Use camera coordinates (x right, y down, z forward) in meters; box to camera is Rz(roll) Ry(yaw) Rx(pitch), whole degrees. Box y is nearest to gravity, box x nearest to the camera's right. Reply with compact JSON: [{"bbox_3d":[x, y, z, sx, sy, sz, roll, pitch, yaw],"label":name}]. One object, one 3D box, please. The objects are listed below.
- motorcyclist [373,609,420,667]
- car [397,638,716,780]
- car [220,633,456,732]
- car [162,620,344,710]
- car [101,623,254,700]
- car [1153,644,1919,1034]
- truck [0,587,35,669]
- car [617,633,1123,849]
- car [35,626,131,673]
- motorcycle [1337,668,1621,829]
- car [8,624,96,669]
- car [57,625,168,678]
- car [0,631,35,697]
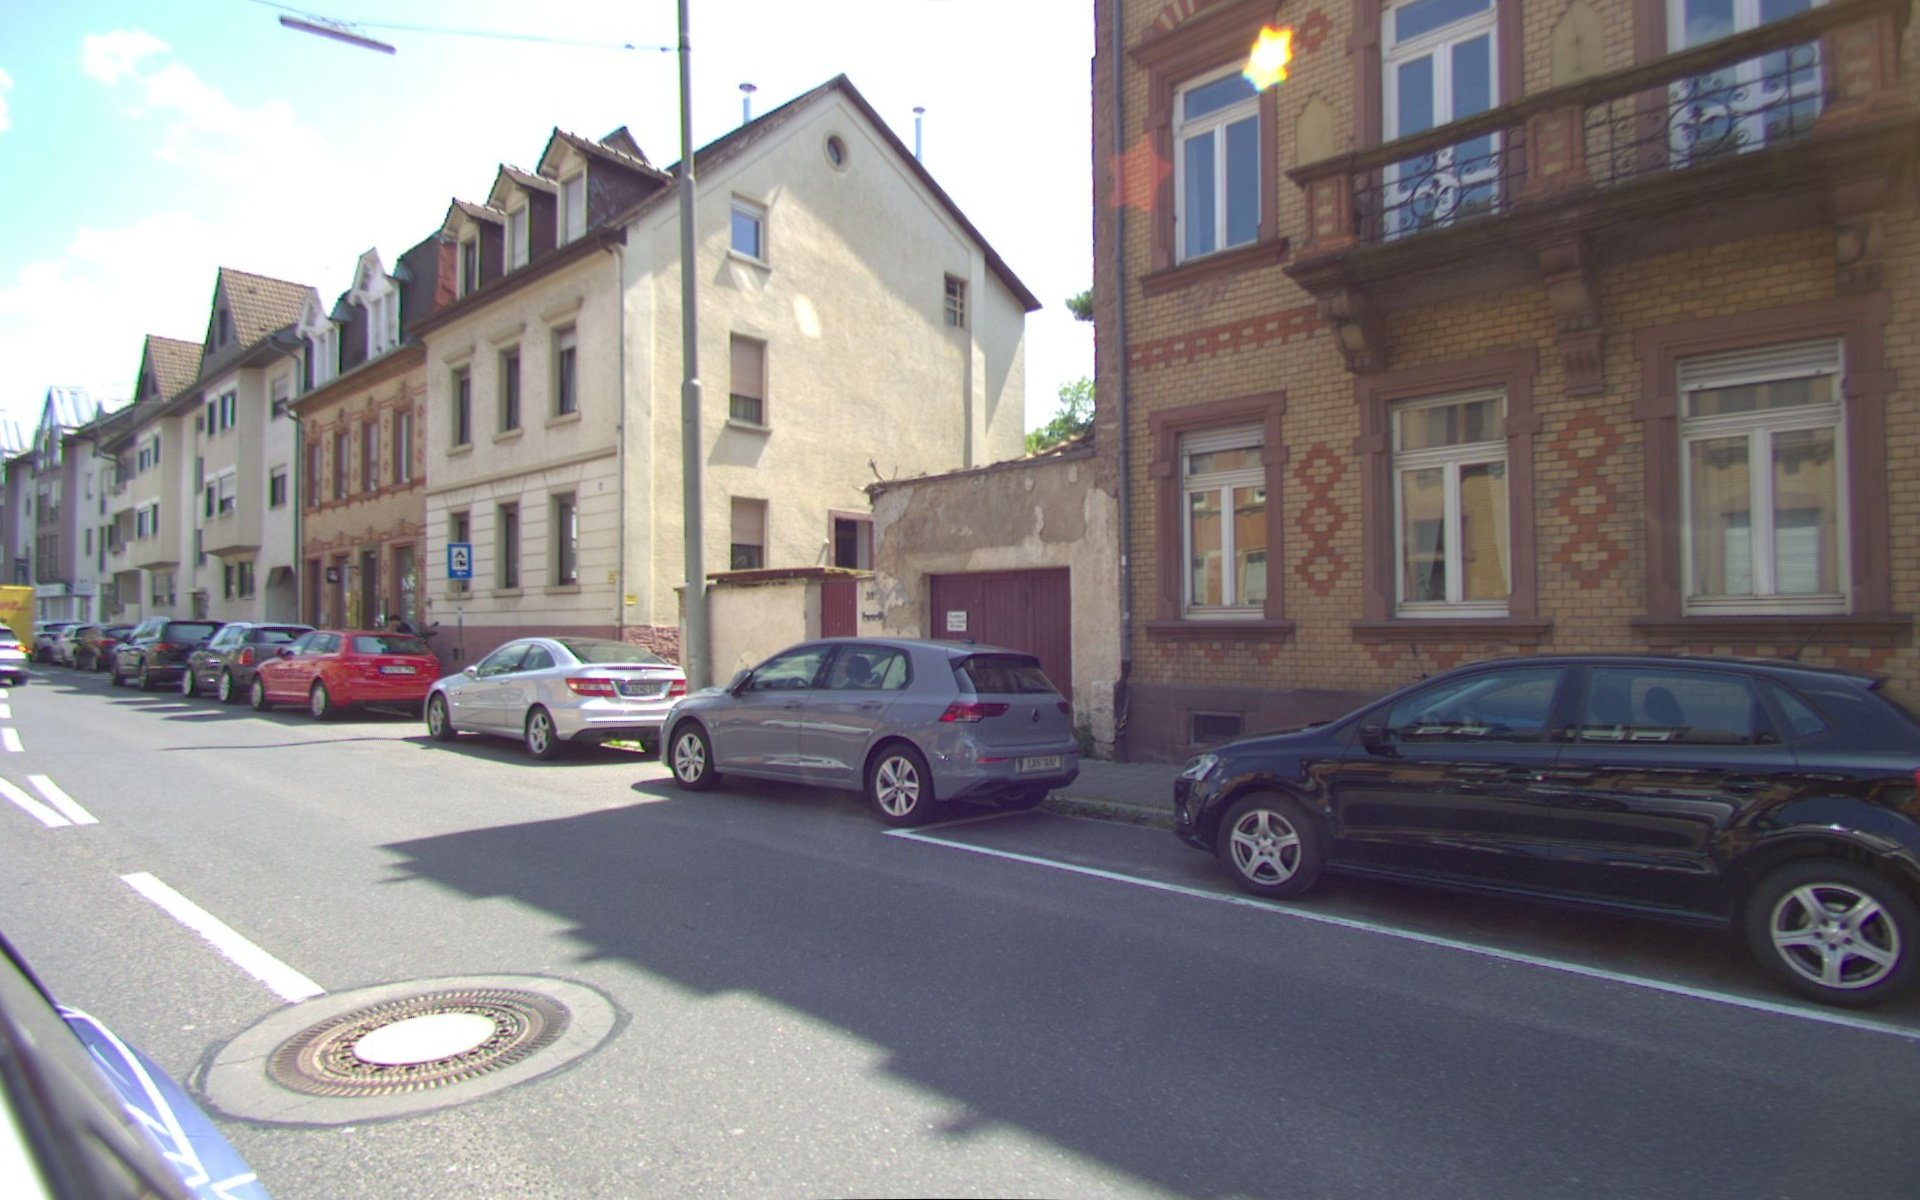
[{"bbox_3d":[-12.683,0.850,22.778,0.711,1.257,0.711,-1,-2,39],"label":"motorcyclist"},{"bbox_3d":[-5.249,1.256,12.890,4.498,1.433,1.821,-1,-4,40],"label":"car"},{"bbox_3d":[-10.561,1.331,17.074,4.494,1.433,1.823,-1,-5,37],"label":"car"},{"bbox_3d":[-14.408,1.275,20.525,4.498,1.609,1.821,-1,-5,40],"label":"car"},{"bbox_3d":[-18.259,1.388,23.537,4.498,1.609,1.821,-1,-4,40],"label":"car"},{"bbox_3d":[3.461,1.029,5.321,4.501,1.433,1.820,-1,-5,42],"label":"car"},{"bbox_3d":[-35.698,1.007,36.562,7.556,2.792,2.203,-1,-3,40],"label":"truck"},{"bbox_3d":[-0.974,1.106,9.155,4.497,1.433,1.822,-1,-6,39],"label":"car"},{"bbox_3d":[-31.306,1.715,36.089,4.381,1.499,1.822,-1,1,39],"label":"car"},{"bbox_3d":[4.163,1.136,8.230,1.937,1.061,0.705,-1,-1,44],"label":"motorcycle"},{"bbox_3d":[-35.866,1.788,39.944,4.380,1.607,1.822,-1,1,38],"label":"car"},{"bbox_3d":[-27.508,1.609,32.795,4.495,1.499,1.822,-1,1,38],"label":"car"},{"bbox_3d":[-22.974,1.421,23.289,4.309,1.431,1.773,-1,-3,38],"label":"car"}]
